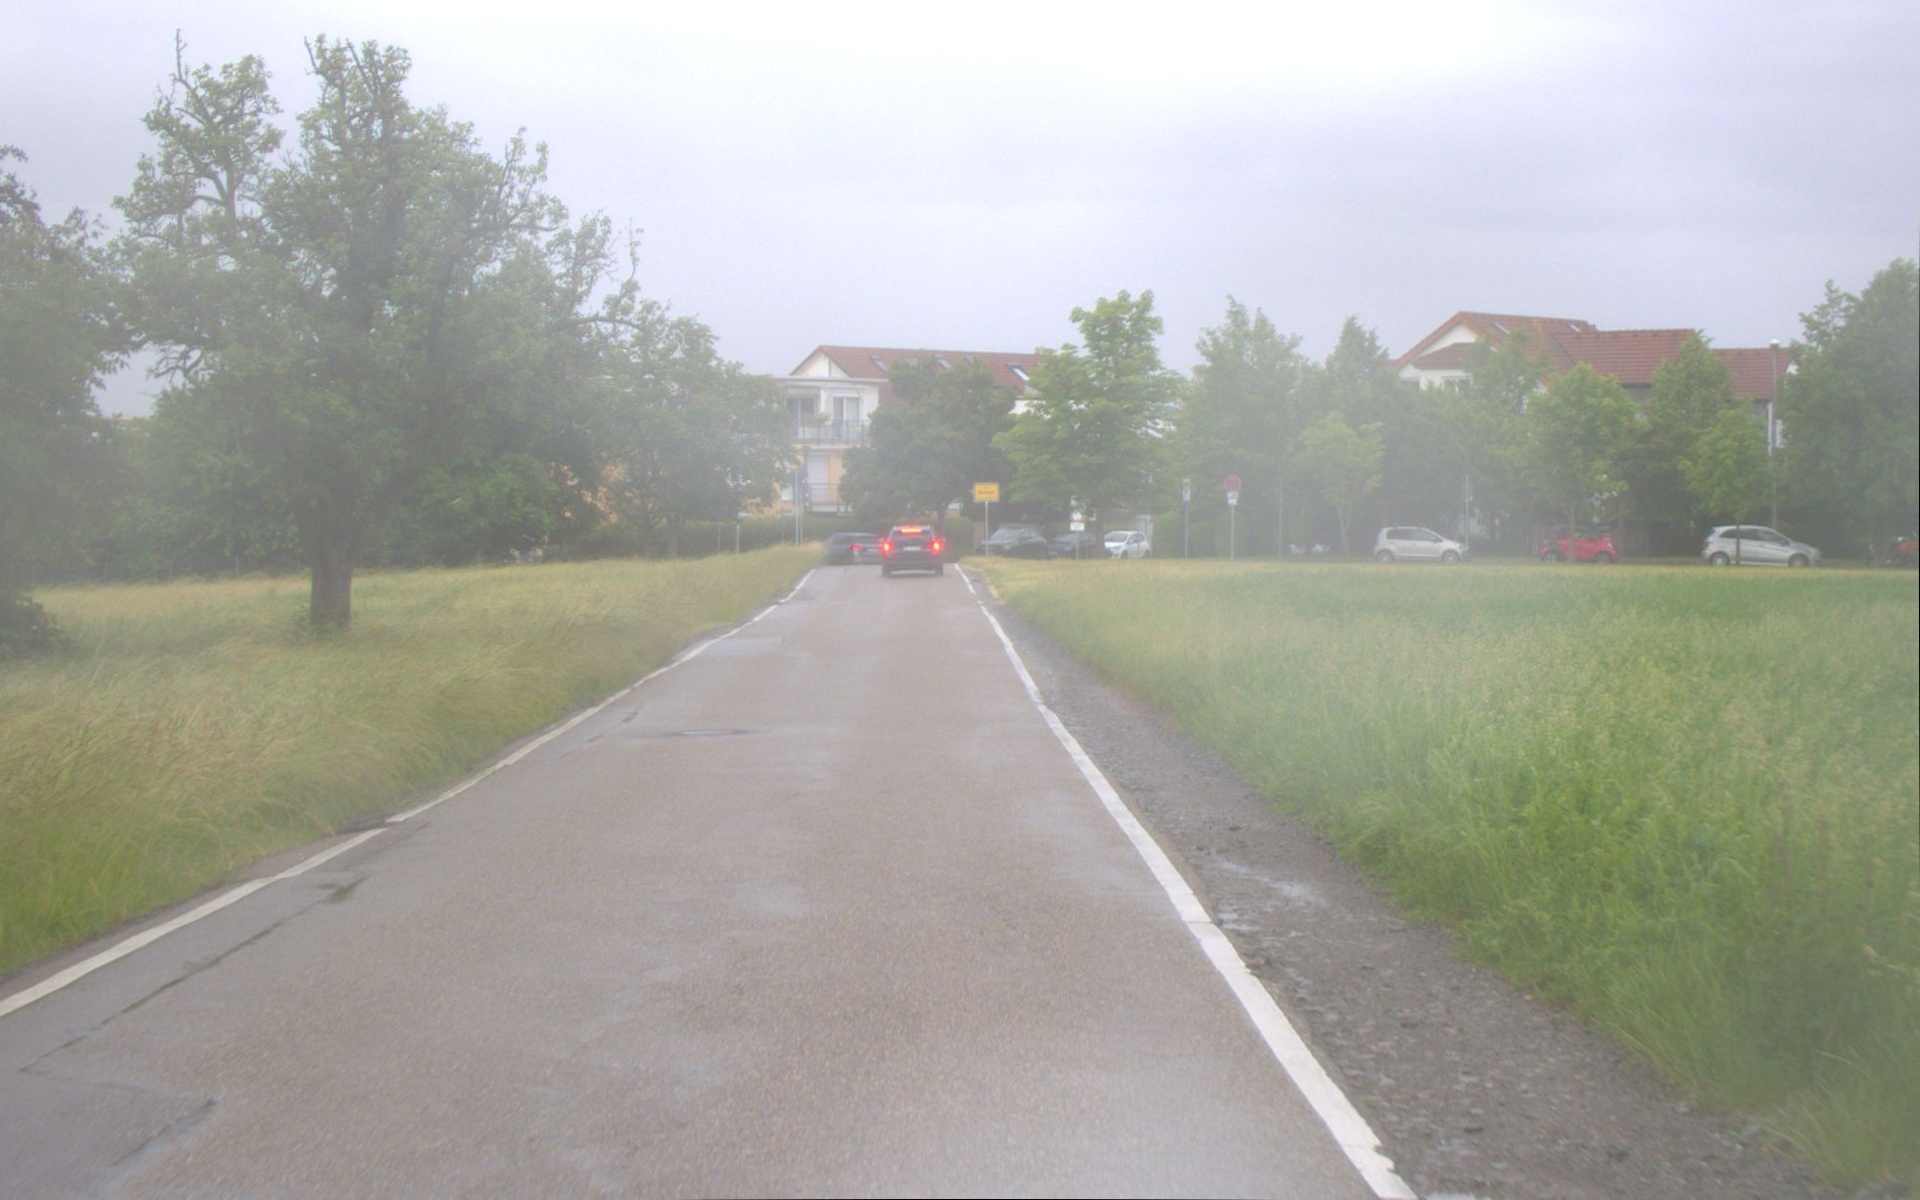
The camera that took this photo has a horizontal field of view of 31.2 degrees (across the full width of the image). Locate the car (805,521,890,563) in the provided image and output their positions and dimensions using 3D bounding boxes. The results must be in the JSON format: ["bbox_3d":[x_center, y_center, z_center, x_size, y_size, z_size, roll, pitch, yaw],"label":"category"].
[{"bbox_3d":[-4.361,-2.222,132.959,1.814,1.588,4.001,0,0,-26],"label":"car"}]

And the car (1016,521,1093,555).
[{"bbox_3d":[4.417,-2.857,159.788,1.664,1.541,3.992,0,0,35],"label":"car"}]

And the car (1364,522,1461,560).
[{"bbox_3d":[16.616,-2.145,126.257,3.392,1.366,1.547,0,0,13],"label":"car"}]

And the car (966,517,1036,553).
[{"bbox_3d":[1.867,-2.927,155.122,1.663,1.541,3.995,0,0,24],"label":"car"}]

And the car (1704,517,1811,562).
[{"bbox_3d":[28.556,-2.160,123.147,3.711,1.558,1.609,0,0,13],"label":"car"}]

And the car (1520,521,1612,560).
[{"bbox_3d":[22.006,-2.155,124.825,3.194,1.366,1.571,0,0,13],"label":"car"}]

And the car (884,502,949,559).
[{"bbox_3d":[-1.241,-1.984,99.552,1.814,1.588,4.000,0,0,0],"label":"car"}]
